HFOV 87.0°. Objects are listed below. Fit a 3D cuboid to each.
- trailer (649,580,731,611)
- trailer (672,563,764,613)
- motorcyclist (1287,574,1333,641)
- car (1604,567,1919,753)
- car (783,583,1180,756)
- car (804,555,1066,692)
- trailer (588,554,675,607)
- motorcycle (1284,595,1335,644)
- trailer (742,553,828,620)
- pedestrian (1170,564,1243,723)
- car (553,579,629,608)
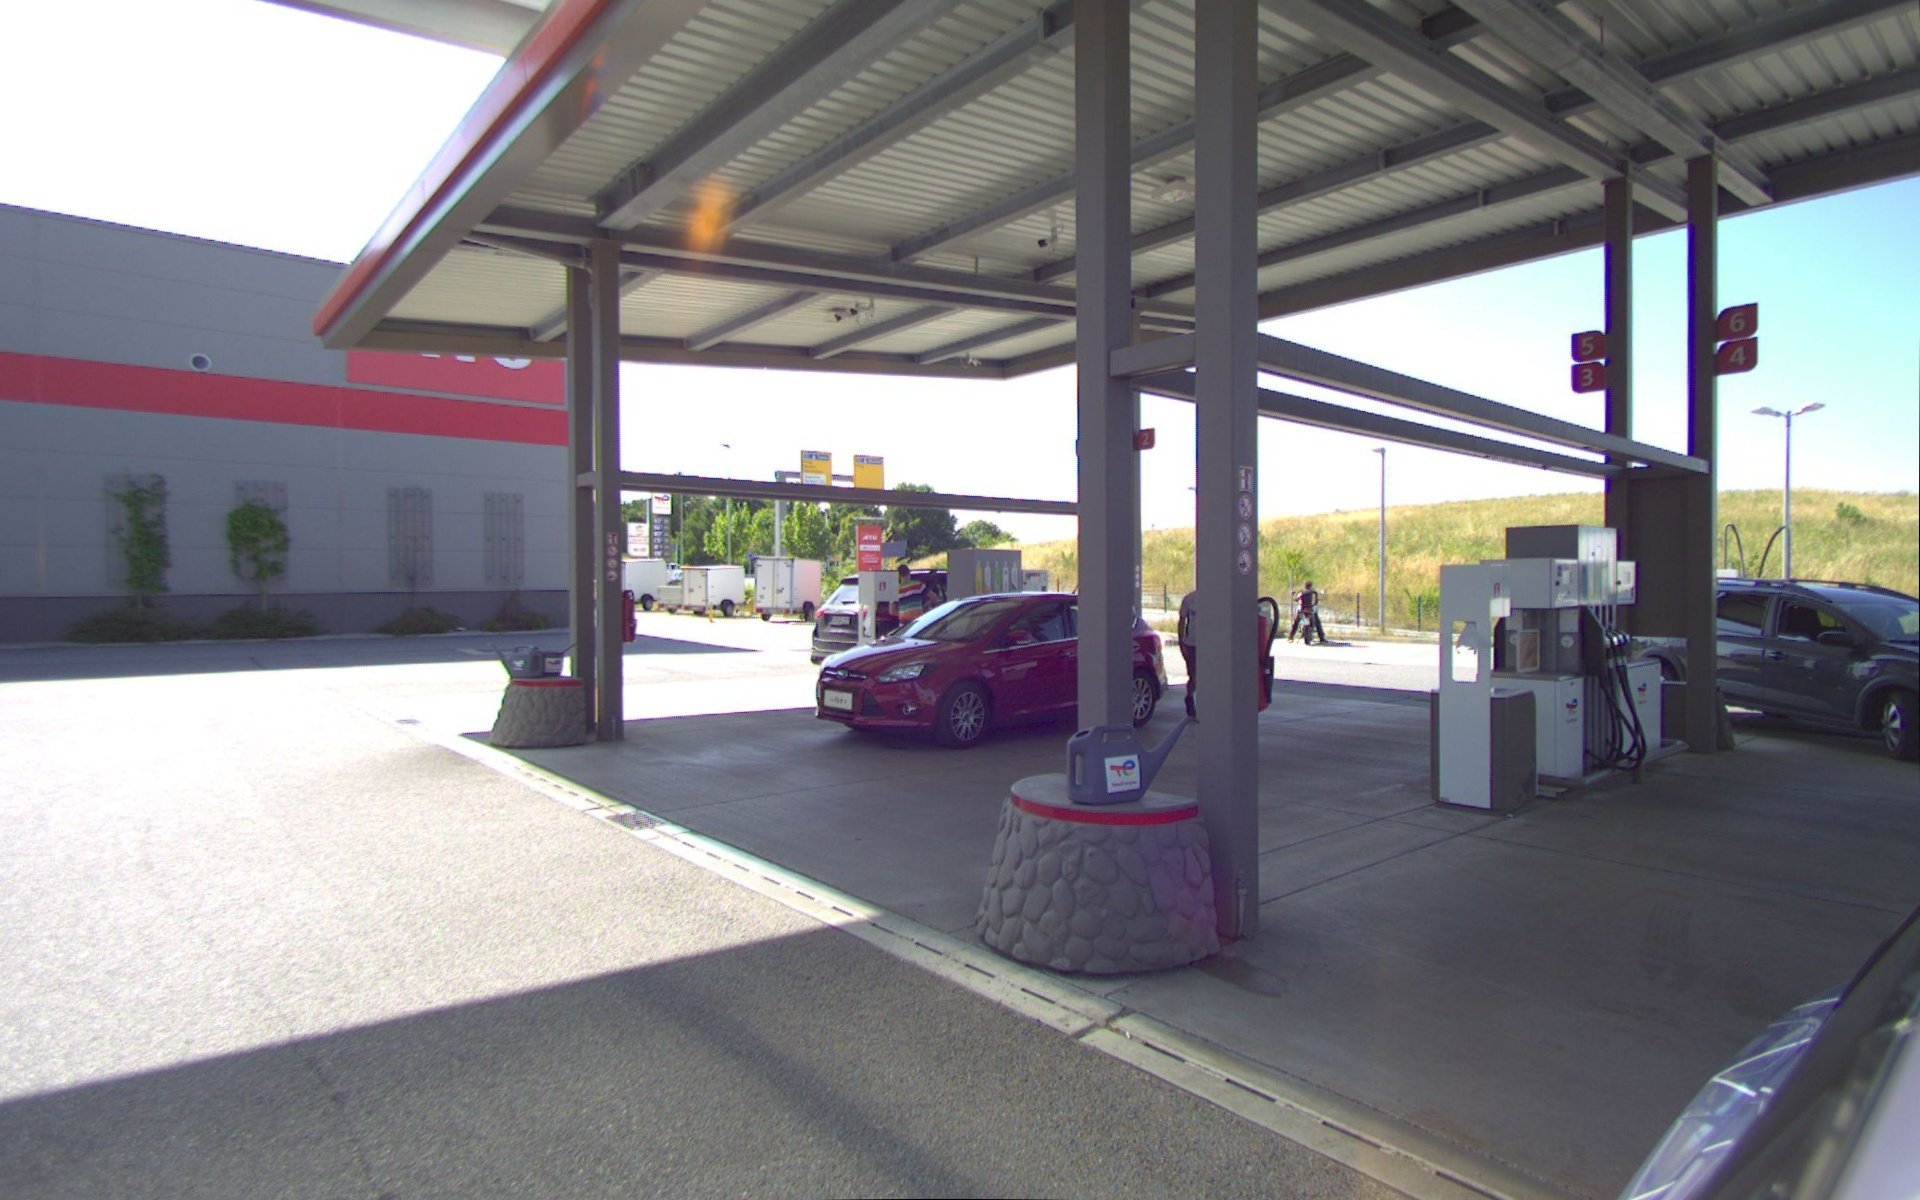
[{"bbox_3d":[-11.980,-0.211,45.143,1.561,1.297,3.688,1,1,24],"label":"trailer"},{"bbox_3d":[-10.303,-0.511,43.339,1.783,2.039,3.967,0,1,24],"label":"trailer"},{"bbox_3d":[9.125,0.174,26.349,1.023,1.709,1.090,1,1,24],"label":"motorcyclist"},{"bbox_3d":[9.271,0.515,10.605,1.709,1.665,4.638,0,1,-6],"label":"car"},{"bbox_3d":[0.371,0.571,10.703,4.159,1.487,1.701,0,1,-41],"label":"car"},{"bbox_3d":[-0.216,0.304,16.444,2.018,1.874,4.744,1,0,31],"label":"car"},{"bbox_3d":[-15.871,-0.931,49.130,1.976,2.457,3.972,1,1,22],"label":"trailer"},{"bbox_3d":[9.150,0.478,26.433,1.034,1.119,2.396,1,2,24],"label":"motorcycle"},{"bbox_3d":[-6.704,-0.532,39.222,1.969,2.457,3.987,1,1,11],"label":"trailer"},{"bbox_3d":[2.782,0.461,11.484,0.691,1.724,0.926,0,0,8],"label":"pedestrian"},{"bbox_3d":[-18.159,-0.340,49.975,1.658,1.334,3.817,1,1,15],"label":"car"}]
